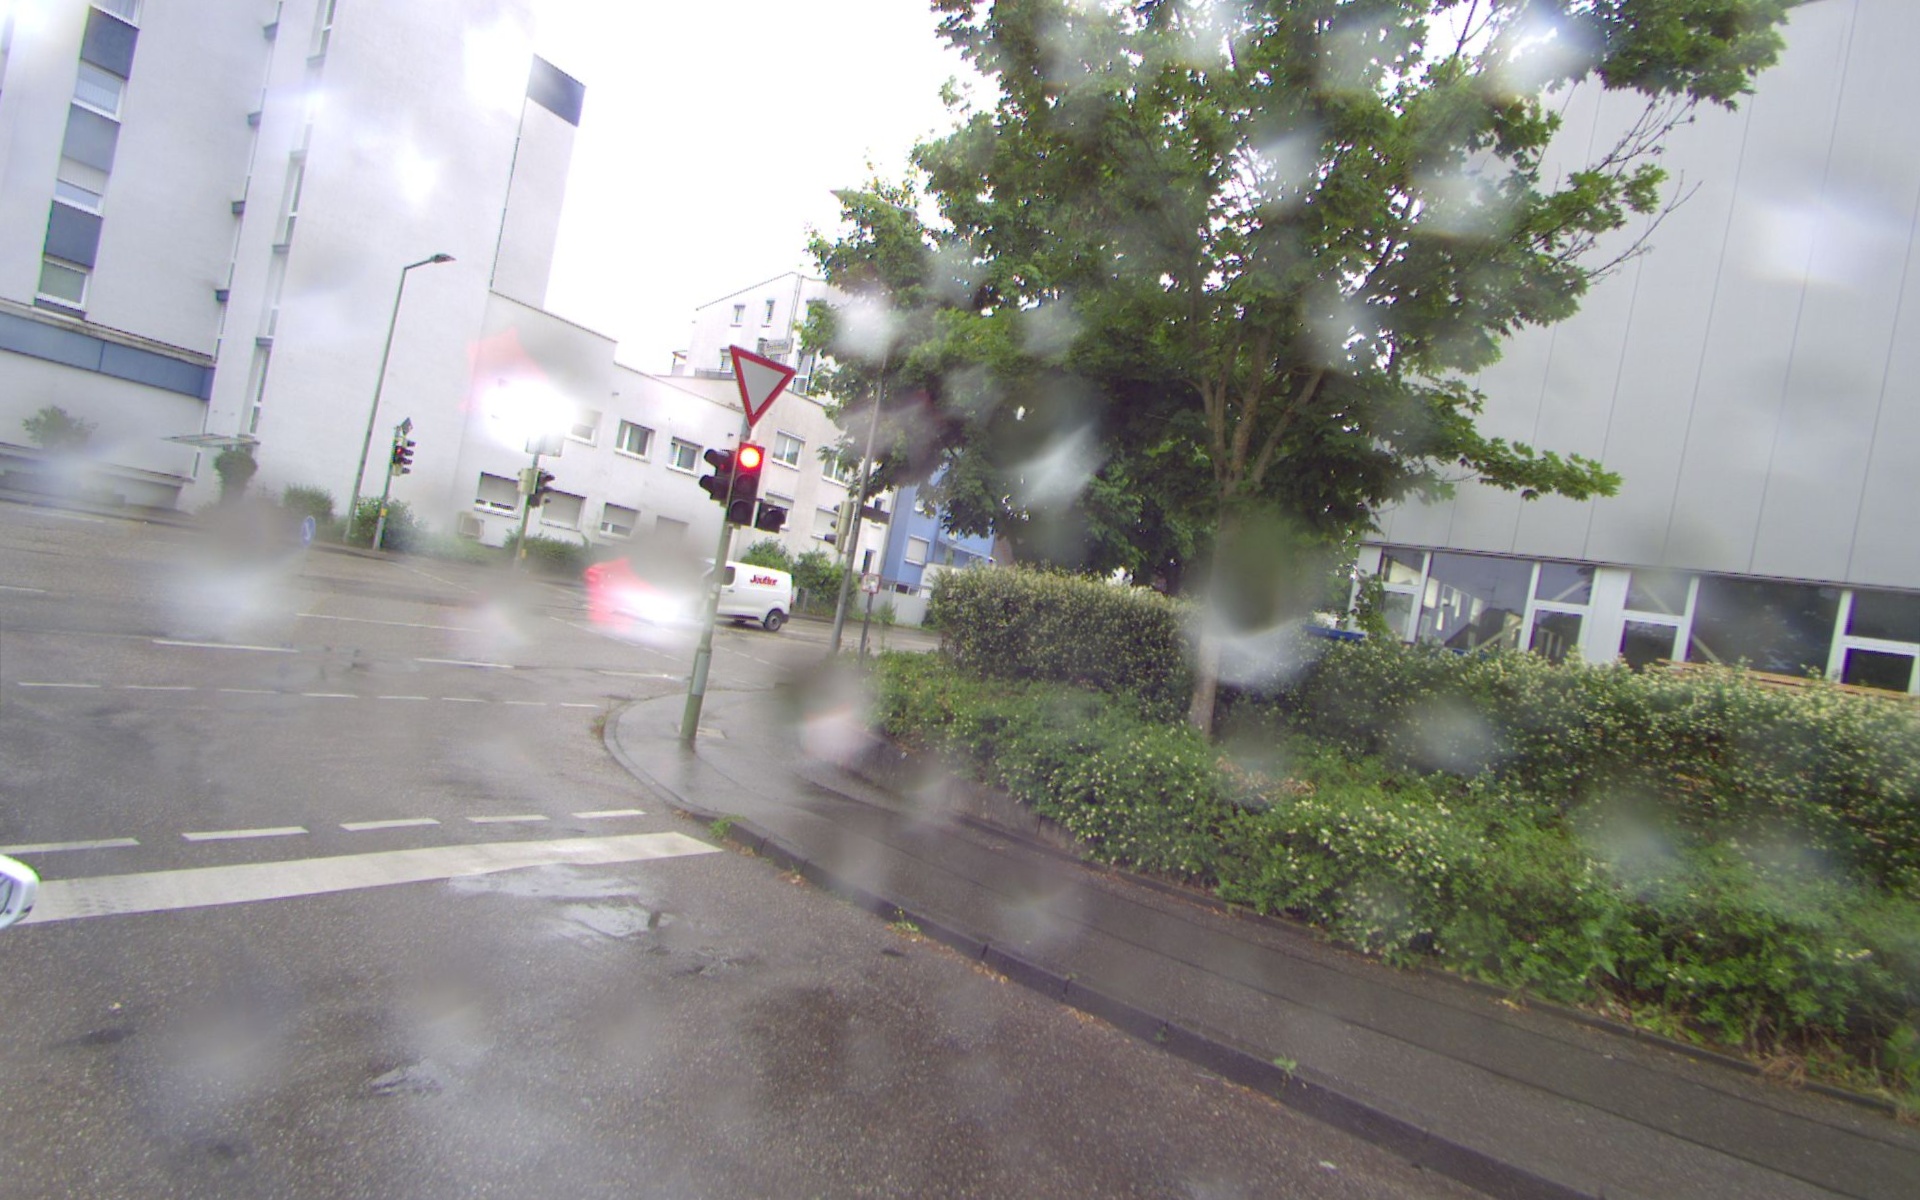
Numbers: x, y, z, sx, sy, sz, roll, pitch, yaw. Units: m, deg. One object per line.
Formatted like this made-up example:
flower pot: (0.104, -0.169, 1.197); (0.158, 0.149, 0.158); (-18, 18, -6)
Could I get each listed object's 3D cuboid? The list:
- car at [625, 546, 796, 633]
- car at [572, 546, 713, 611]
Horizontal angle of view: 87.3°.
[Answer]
car: (-7.559, -0.267, 30.931); (1.800, 1.938, 4.816); (7, -2, 39)
car: (-10.326, -0.671, 32.989); (1.803, 1.485, 3.989); (9, 0, 36)
